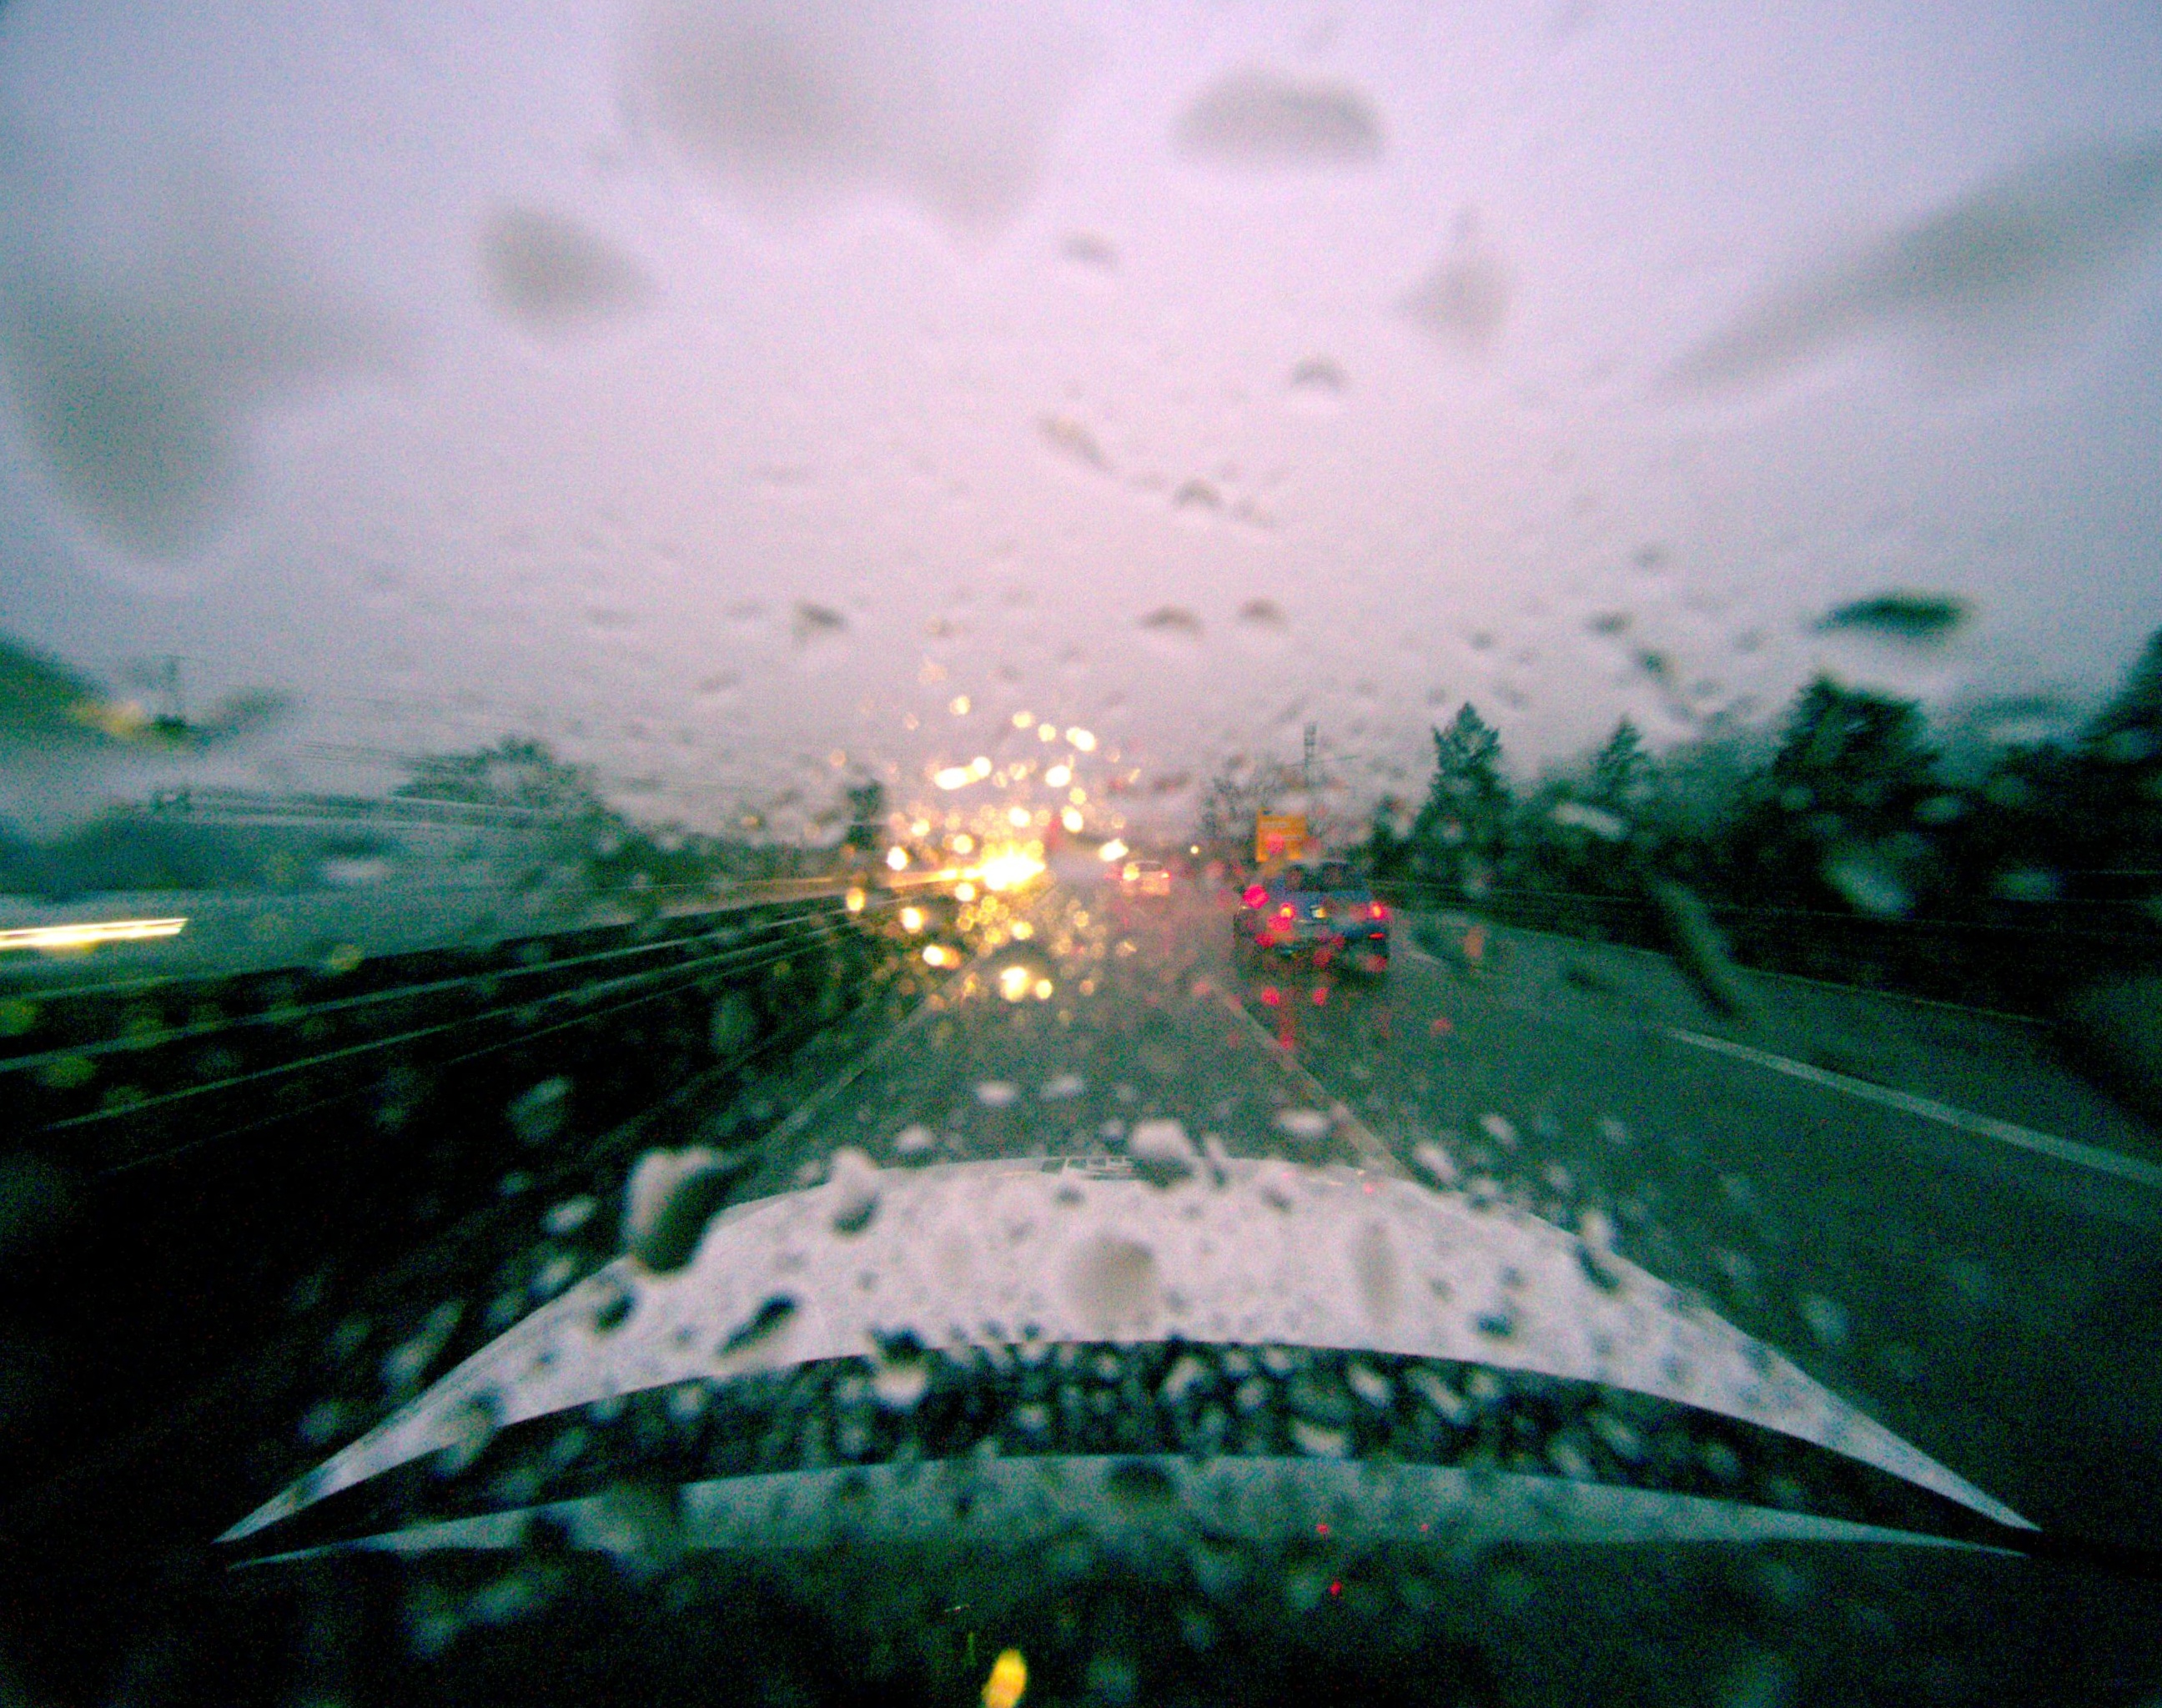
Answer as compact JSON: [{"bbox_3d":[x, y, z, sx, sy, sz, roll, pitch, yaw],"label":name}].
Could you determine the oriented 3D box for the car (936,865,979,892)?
[{"bbox_3d":[-7.918,1.533,52.417,1.986,1.551,4.138,-1,0,2],"label":"car"}]

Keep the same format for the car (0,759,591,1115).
[{"bbox_3d":[-7.169,0.493,7.499,1.986,2.136,5.201,-1,0,2],"label":"car"}]

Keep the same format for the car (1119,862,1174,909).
[{"bbox_3d":[2.372,1.127,30.466,1.839,1.636,3.768,0,-1,1],"label":"car"}]

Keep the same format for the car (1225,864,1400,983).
[{"bbox_3d":[3.461,0.963,12.978,1.837,1.453,4.153,-1,0,4],"label":"car"}]

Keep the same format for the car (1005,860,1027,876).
[{"bbox_3d":[-6.916,1.472,87.524,1.810,1.551,4.471,-1,0,2],"label":"car"}]
